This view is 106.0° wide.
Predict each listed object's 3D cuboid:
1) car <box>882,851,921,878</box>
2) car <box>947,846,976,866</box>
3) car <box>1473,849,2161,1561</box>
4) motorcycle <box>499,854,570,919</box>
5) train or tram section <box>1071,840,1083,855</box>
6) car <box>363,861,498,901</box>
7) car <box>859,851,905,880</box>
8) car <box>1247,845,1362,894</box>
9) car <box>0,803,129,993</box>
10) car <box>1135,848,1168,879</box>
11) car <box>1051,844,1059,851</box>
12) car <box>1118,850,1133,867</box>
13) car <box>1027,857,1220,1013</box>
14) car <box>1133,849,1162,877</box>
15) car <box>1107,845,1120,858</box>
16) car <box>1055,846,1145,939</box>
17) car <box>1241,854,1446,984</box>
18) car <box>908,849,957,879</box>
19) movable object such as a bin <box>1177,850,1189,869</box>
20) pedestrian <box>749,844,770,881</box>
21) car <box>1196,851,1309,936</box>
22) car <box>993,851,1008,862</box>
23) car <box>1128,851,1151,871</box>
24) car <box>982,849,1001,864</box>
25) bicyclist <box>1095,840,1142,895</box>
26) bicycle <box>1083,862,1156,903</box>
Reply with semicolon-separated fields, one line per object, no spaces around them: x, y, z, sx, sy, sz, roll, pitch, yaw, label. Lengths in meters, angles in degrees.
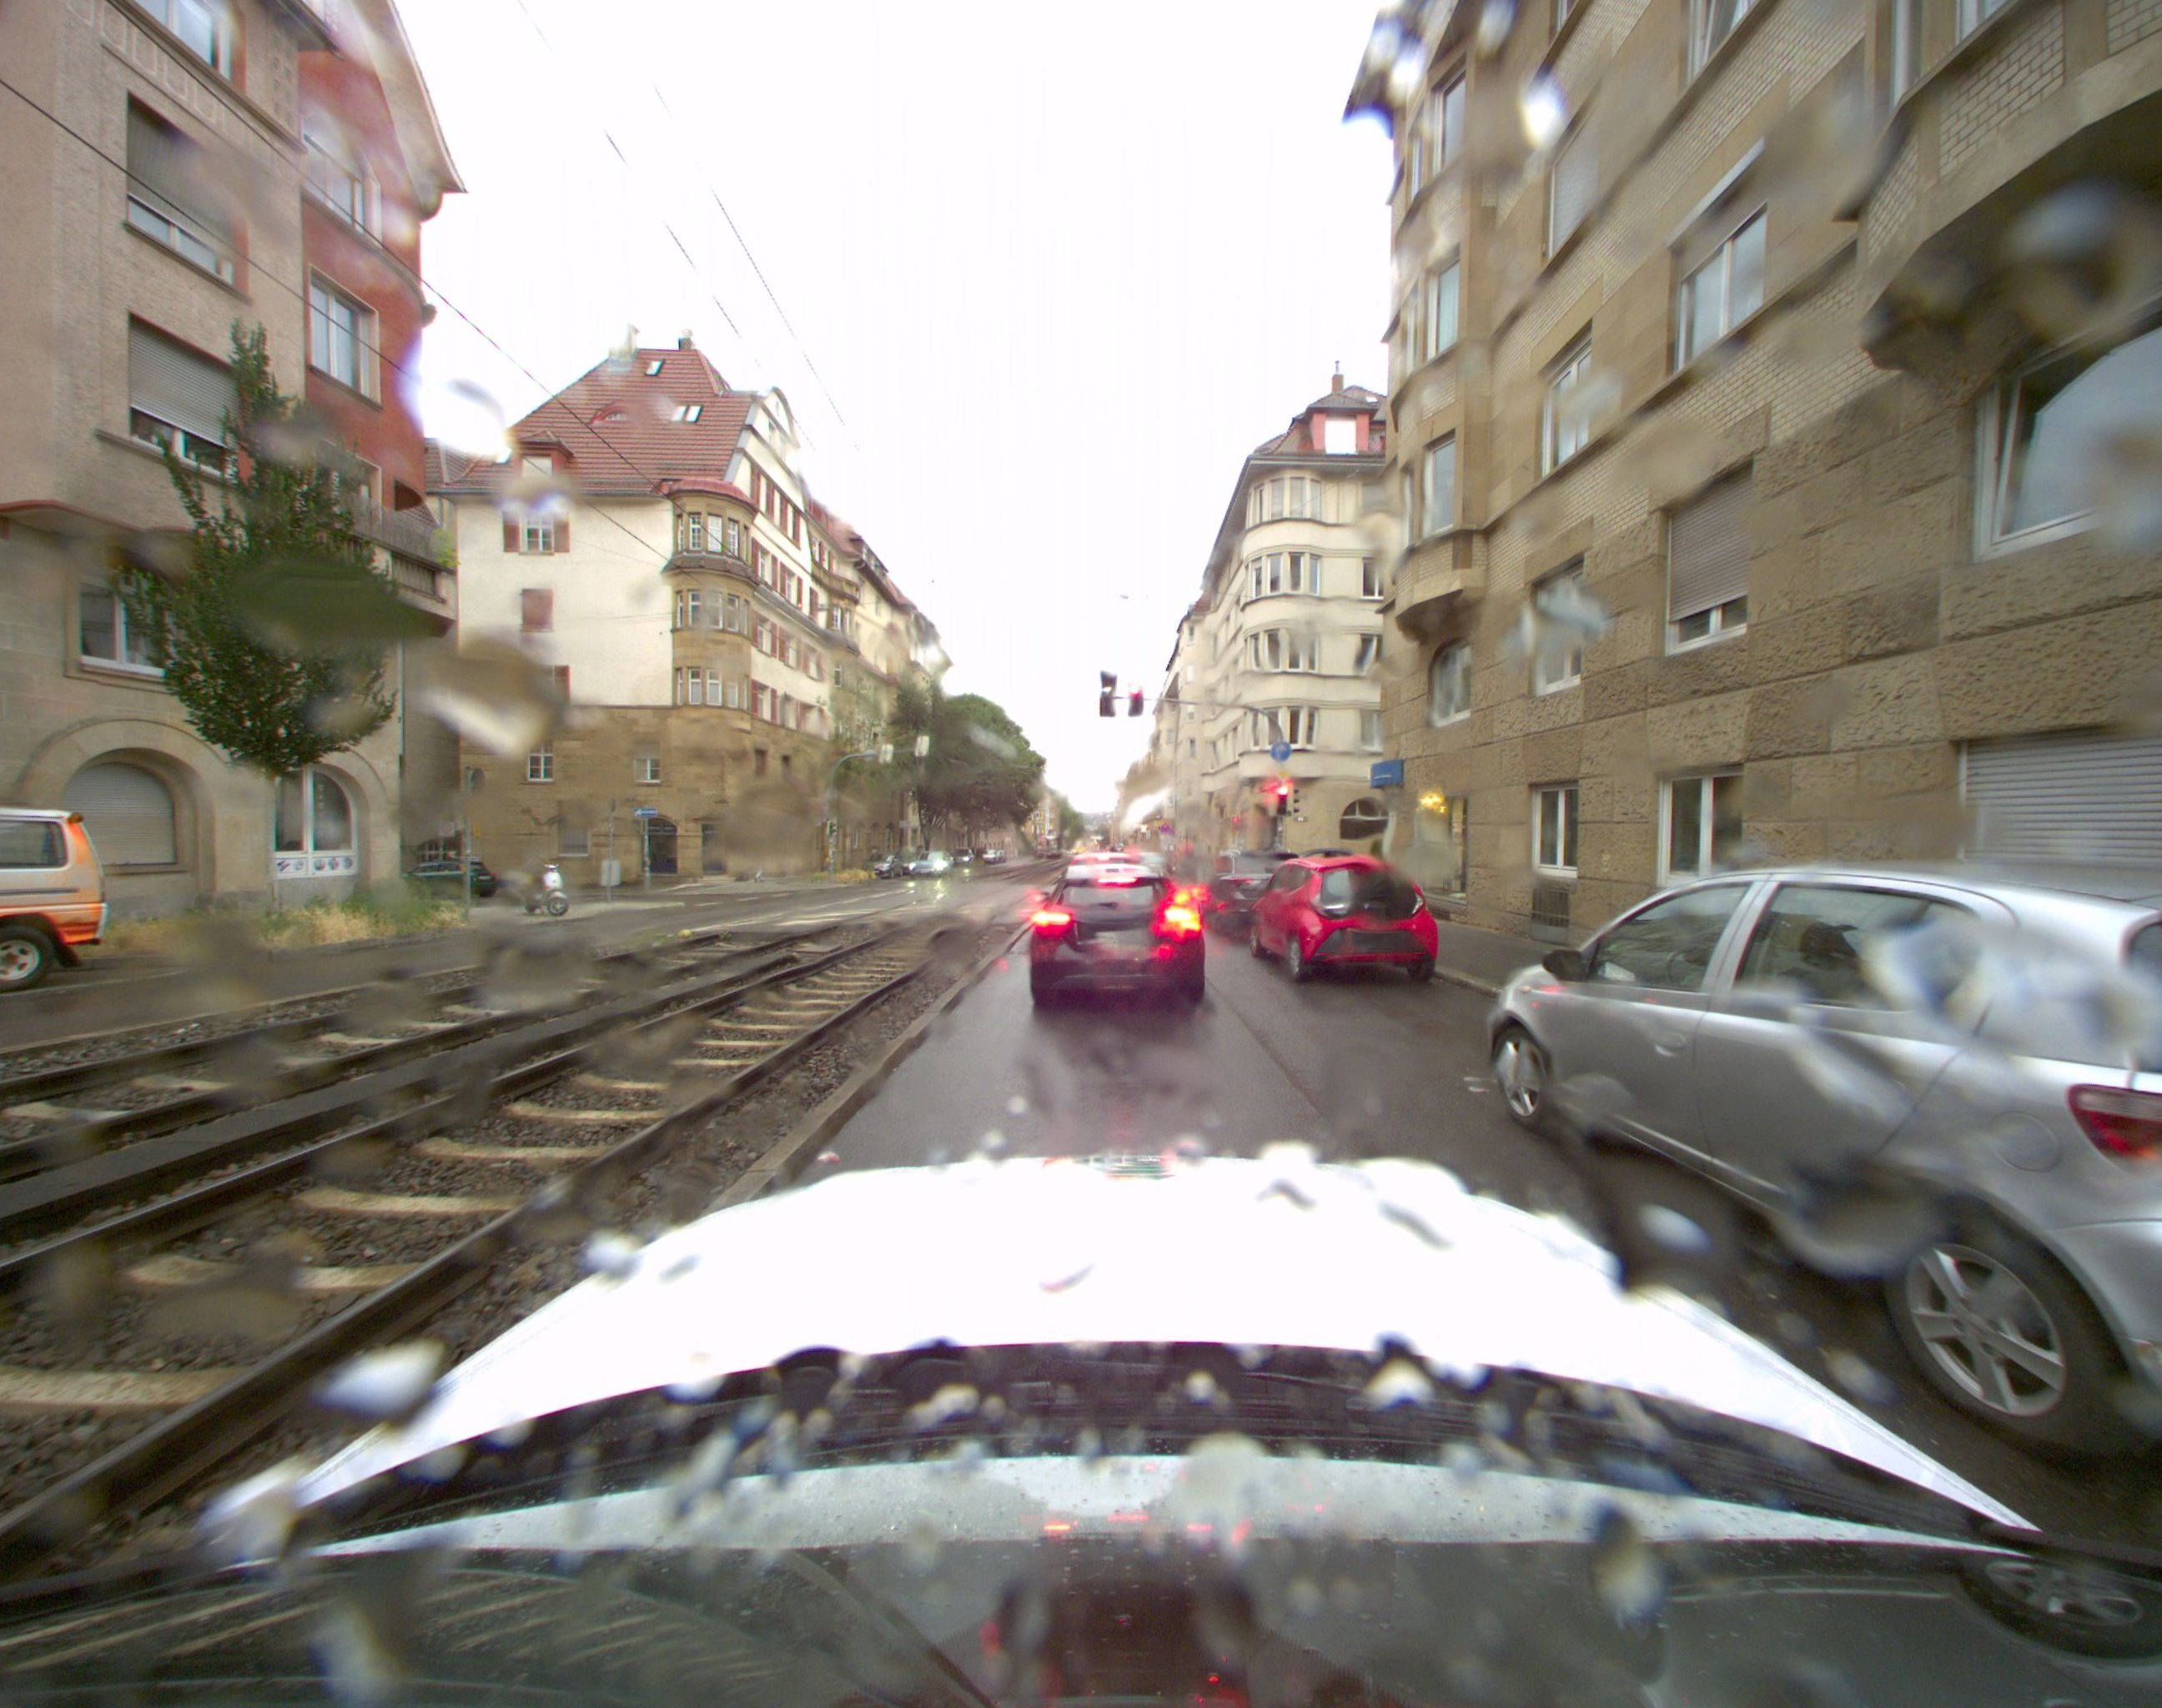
-11.289;0.634;51.372;1.713;1.611;3.914;0;-1;-3;car
-10.600;0.202;72.360;1.868;1.737;3.920;0;-1;2;car
3.147;0.736;3.321;1.608;1.467;3.314;-2;0;3;car
-12.067;0.700;17.986;1.577;1.365;0.628;-1;-1;28;motorcycle
-1.034;-1.738;225.933;2.772;3.861;10.433;0;-1;2;train or tram section
-24.385;0.995;30.628;3.633;1.404;1.699;0;-1;-3;car
-11.257;0.628;46.337;1.747;1.552;4.033;0;-1;-2;car
7.574;0.512;27.891;3.652;1.636;1.553;0;0;9;car
-12.122;0.457;7.430;1.725;1.975;4.341;0;-1;0;car
3.699;0.476;42.922;1.539;1.590;3.549;0;0;2;car
-5.201;-1.317;161.223;1.372;1.249;3.297;0;-1;0;car
4.022;0.396;73.895;1.289;1.442;2.930;0;0;2;car
0.467;0.775;9.785;1.822;1.458;4.105;0;0;2;car
3.840;0.519;47.397;1.539;1.590;3.549;0;0;2;car
4.954;-0.334;125.846;1.986;1.876;4.001;0;-1;2;car
0.392;0.693;16.180;1.559;1.609;3.815;0;-1;2;car
3.277;0.729;10.786;1.637;1.448;3.298;0;0;-1;car
-8.272;0.570;45.651;1.891;1.588;3.974;0;-1;2;car
7.471;0.417;59.777;0.873;1.389;0.984;0;-1;5;movable object such as a bin
-14.496;0.387;36.733;0.627;1.672;0.705;-1;-1;11;pedestrian
3.243;0.683;16.031;1.539;1.486;3.831;0;0;2;car
-9.802;0.282;99.233;1.443;1.331;3.271;0;-1;0;car
4.412;0.522;61.804;1.539;1.486;3.549;0;0;2;car
-9.872;0.295;89.817;1.583;1.581;3.920;0;-1;2;car
1.096;0.396;24.135;1.249;1.597;0.884;0;-1;-10;bicyclist
1.140;0.830;24.143;2.030;1.186;0.824;0;-1;-10;bicycle
